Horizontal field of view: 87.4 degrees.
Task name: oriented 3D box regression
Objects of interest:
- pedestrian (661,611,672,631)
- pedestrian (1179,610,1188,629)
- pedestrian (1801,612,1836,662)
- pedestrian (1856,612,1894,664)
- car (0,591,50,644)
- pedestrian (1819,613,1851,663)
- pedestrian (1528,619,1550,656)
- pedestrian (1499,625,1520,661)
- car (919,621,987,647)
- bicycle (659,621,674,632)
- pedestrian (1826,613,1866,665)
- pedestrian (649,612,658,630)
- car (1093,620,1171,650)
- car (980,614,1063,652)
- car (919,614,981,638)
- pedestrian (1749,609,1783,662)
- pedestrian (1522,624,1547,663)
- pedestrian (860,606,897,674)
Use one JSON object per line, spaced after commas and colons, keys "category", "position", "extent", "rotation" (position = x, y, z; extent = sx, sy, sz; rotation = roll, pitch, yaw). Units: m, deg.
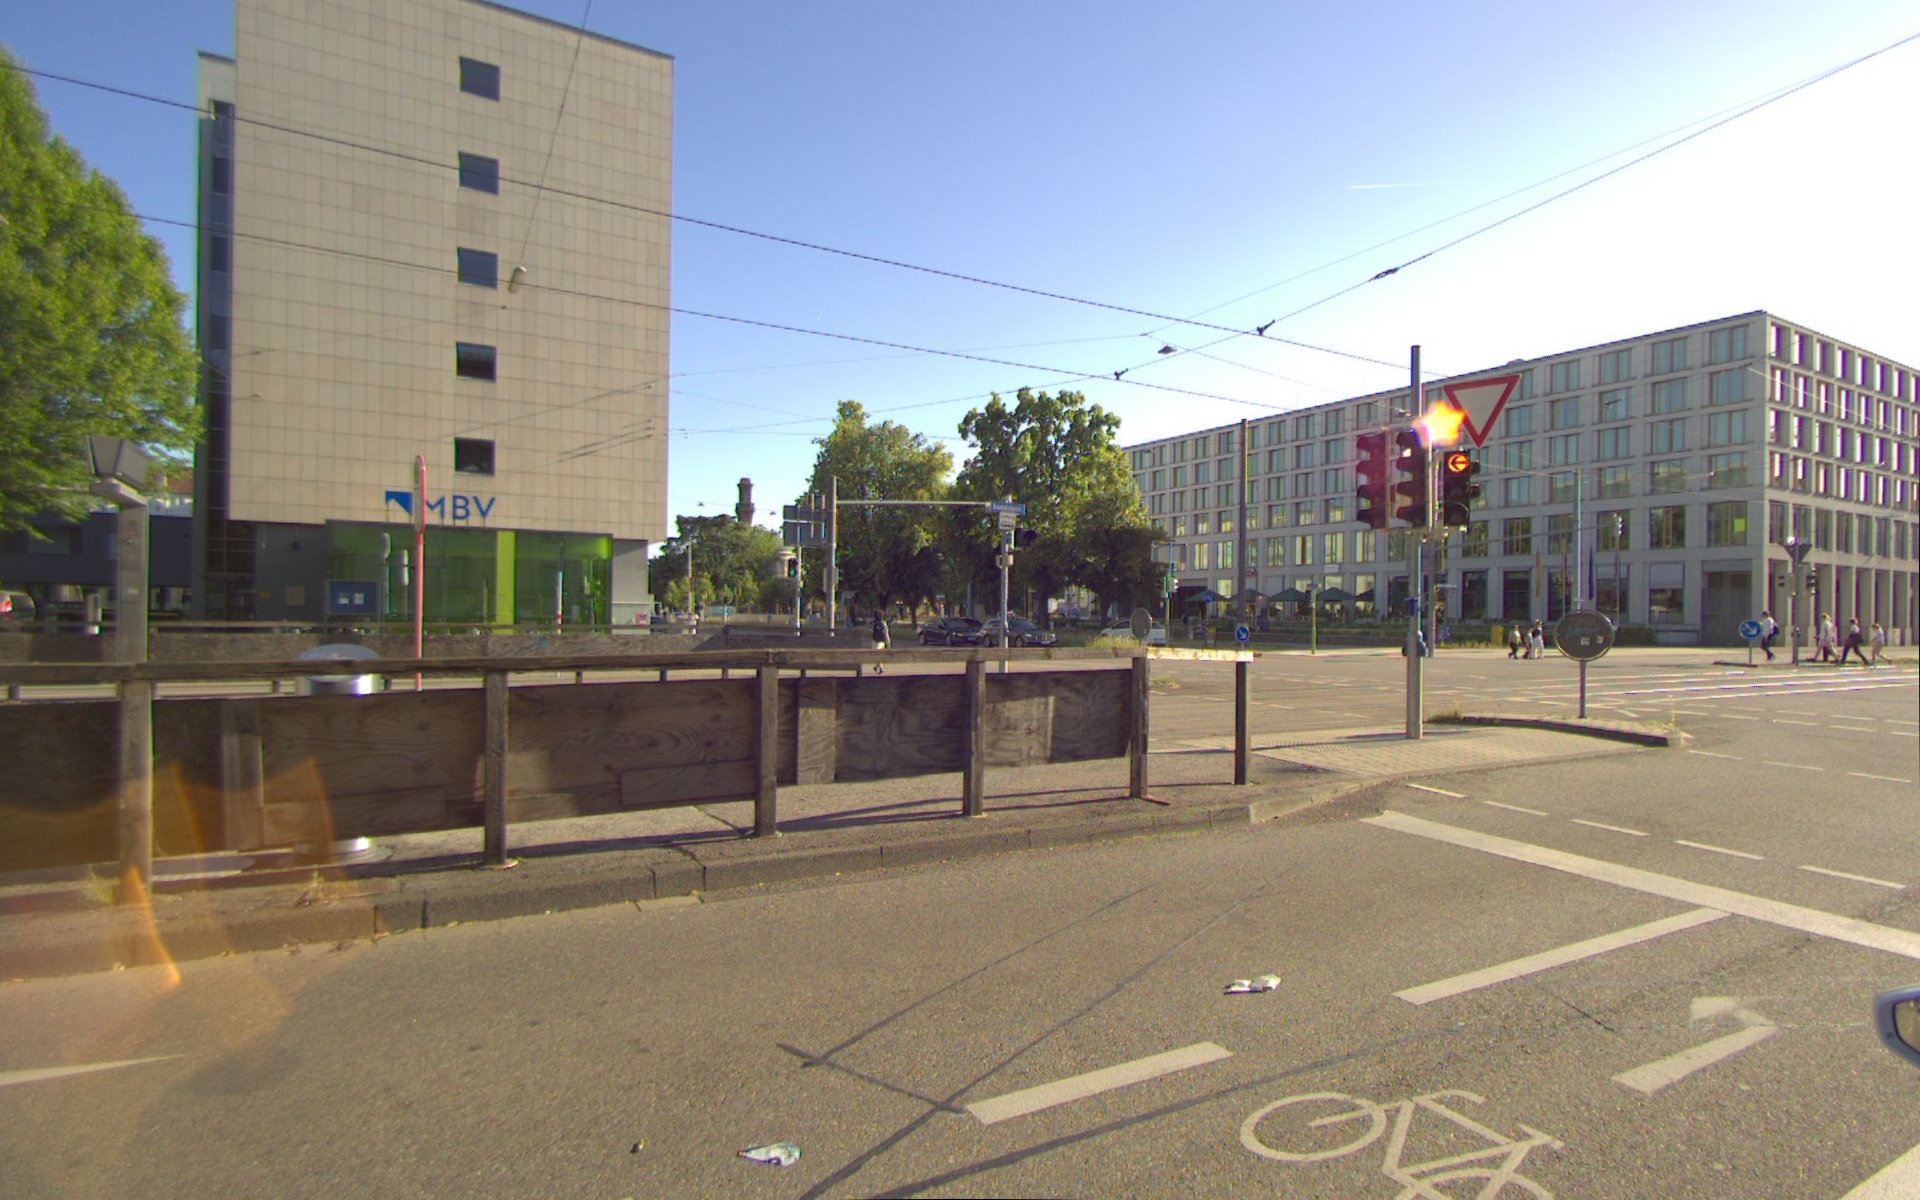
{"category": "pedestrian", "position": [-28.226, 2.020, 96.477], "extent": [0.818, 1.829, 0.754], "rotation": [1, -1, -31]}
{"category": "pedestrian", "position": [19.972, 1.730, 89.712], "extent": [0.556, 1.691, 0.537], "rotation": [2, 0, -33]}
{"category": "pedestrian", "position": [31.513, 1.355, 36.867], "extent": [0.706, 1.827, 0.737], "rotation": [1, -1, -24]}
{"category": "pedestrian", "position": [32.527, 1.343, 35.704], "extent": [0.525, 1.827, 0.867], "rotation": [1, -1, -24]}
{"category": "car", "position": [-27.708, 0.449, 27.793], "extent": [3.371, 1.431, 1.562], "rotation": [2, 0, -20]}
{"category": "pedestrian", "position": [32.349, 1.392, 37.124], "extent": [0.525, 1.827, 0.737], "rotation": [1, -1, -24]}
{"category": "pedestrian", "position": [26.475, 1.719, 45.916], "extent": [0.615, 1.666, 0.690], "rotation": [1, -1, -34]}
{"category": "pedestrian", "position": [25.349, 1.979, 46.357], "extent": [0.609, 1.666, 0.696], "rotation": [1, -1, 1]}
{"category": "car", "position": [-0.416, 1.790, 53.378], "extent": [1.755, 1.311, 4.209], "rotation": [1, -1, -30]}
{"category": "bicycle", "position": [-28.161, 2.519, 96.353], "extent": [0.818, 0.973, 2.132], "rotation": [1, -1, -31]}
{"category": "pedestrian", "position": [31.509, 1.381, 35.726], "extent": [0.654, 1.827, 0.868], "rotation": [1, -1, -24]}
{"category": "pedestrian", "position": [-29.270, 2.017, 95.833], "extent": [0.666, 1.739, 0.754], "rotation": [1, -1, -32]}
{"category": "car", "position": [8.695, 1.759, 51.079], "extent": [1.614, 1.452, 4.021], "rotation": [3, -2, -31]}
{"category": "car", "position": [2.865, 1.533, 47.763], "extent": [1.830, 1.602, 4.494], "rotation": [1, 1, -29]}
{"category": "car", "position": [-0.738, 1.724, 67.045], "extent": [1.978, 1.433, 4.710], "rotation": [4, -2, -31]}
{"category": "pedestrian", "position": [29.835, 1.321, 37.187], "extent": [0.628, 1.943, 0.800], "rotation": [1, -1, -24]}
{"category": "pedestrian", "position": [25.518, 1.926, 44.628], "extent": [0.615, 1.666, 0.787], "rotation": [1, -1, -34]}
{"category": "pedestrian", "position": [-2.135, 1.035, 26.265], "extent": [0.814, 1.739, 0.757], "rotation": [1, -1, -18]}
